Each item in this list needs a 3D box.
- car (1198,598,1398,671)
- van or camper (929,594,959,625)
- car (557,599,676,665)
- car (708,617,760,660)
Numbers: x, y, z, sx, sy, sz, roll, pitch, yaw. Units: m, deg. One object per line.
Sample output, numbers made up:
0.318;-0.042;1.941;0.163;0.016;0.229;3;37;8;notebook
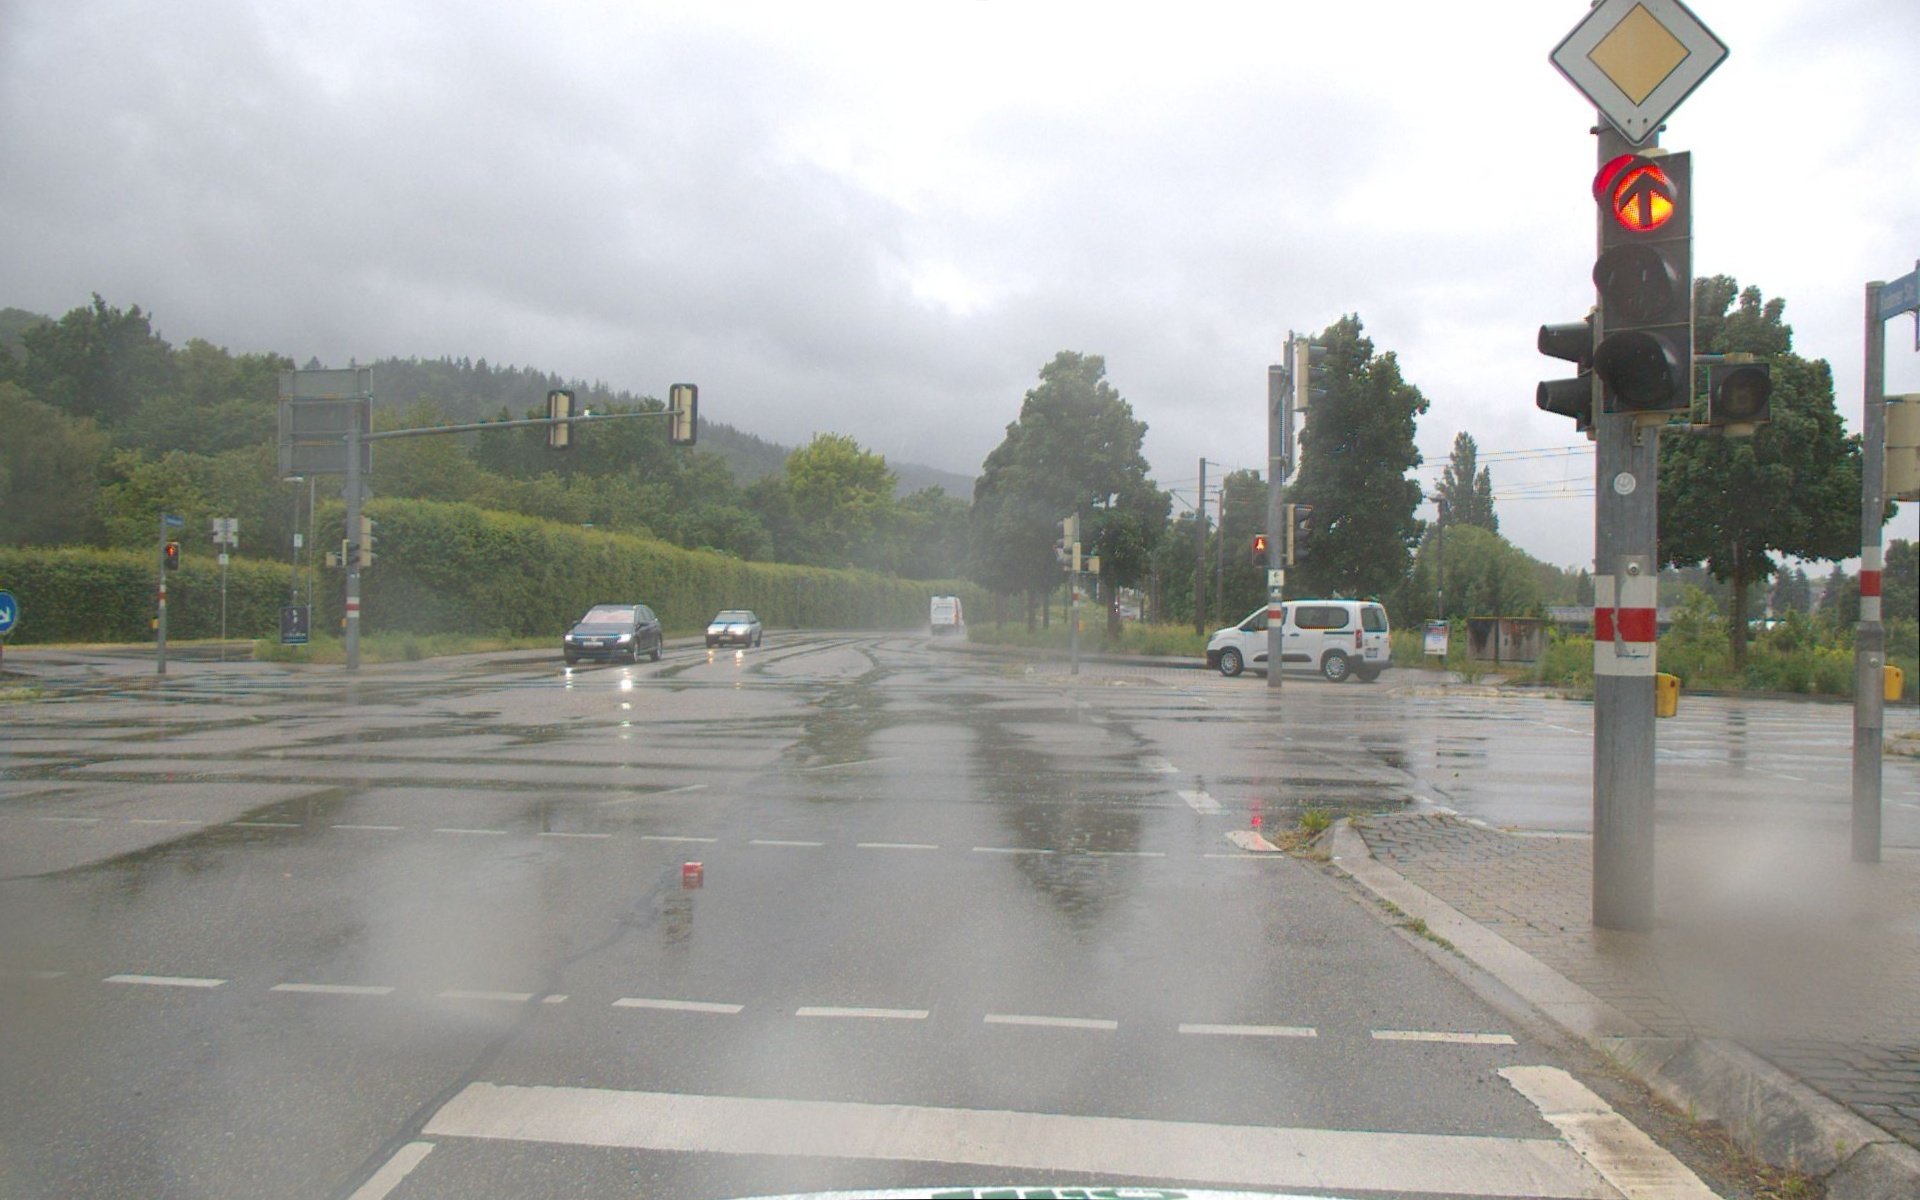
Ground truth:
7.849;0.760;38.640;4.268;1.580;1.813;0;0;40;car
-1.139;0.668;120.434;2.109;2.207;4.864;1;0;0;van or camper
-8.970;0.794;43.578;1.839;1.601;4.647;-1;0;4;car
-8.577;1.435;62.911;1.526;1.507;3.360;1;0;0;car
